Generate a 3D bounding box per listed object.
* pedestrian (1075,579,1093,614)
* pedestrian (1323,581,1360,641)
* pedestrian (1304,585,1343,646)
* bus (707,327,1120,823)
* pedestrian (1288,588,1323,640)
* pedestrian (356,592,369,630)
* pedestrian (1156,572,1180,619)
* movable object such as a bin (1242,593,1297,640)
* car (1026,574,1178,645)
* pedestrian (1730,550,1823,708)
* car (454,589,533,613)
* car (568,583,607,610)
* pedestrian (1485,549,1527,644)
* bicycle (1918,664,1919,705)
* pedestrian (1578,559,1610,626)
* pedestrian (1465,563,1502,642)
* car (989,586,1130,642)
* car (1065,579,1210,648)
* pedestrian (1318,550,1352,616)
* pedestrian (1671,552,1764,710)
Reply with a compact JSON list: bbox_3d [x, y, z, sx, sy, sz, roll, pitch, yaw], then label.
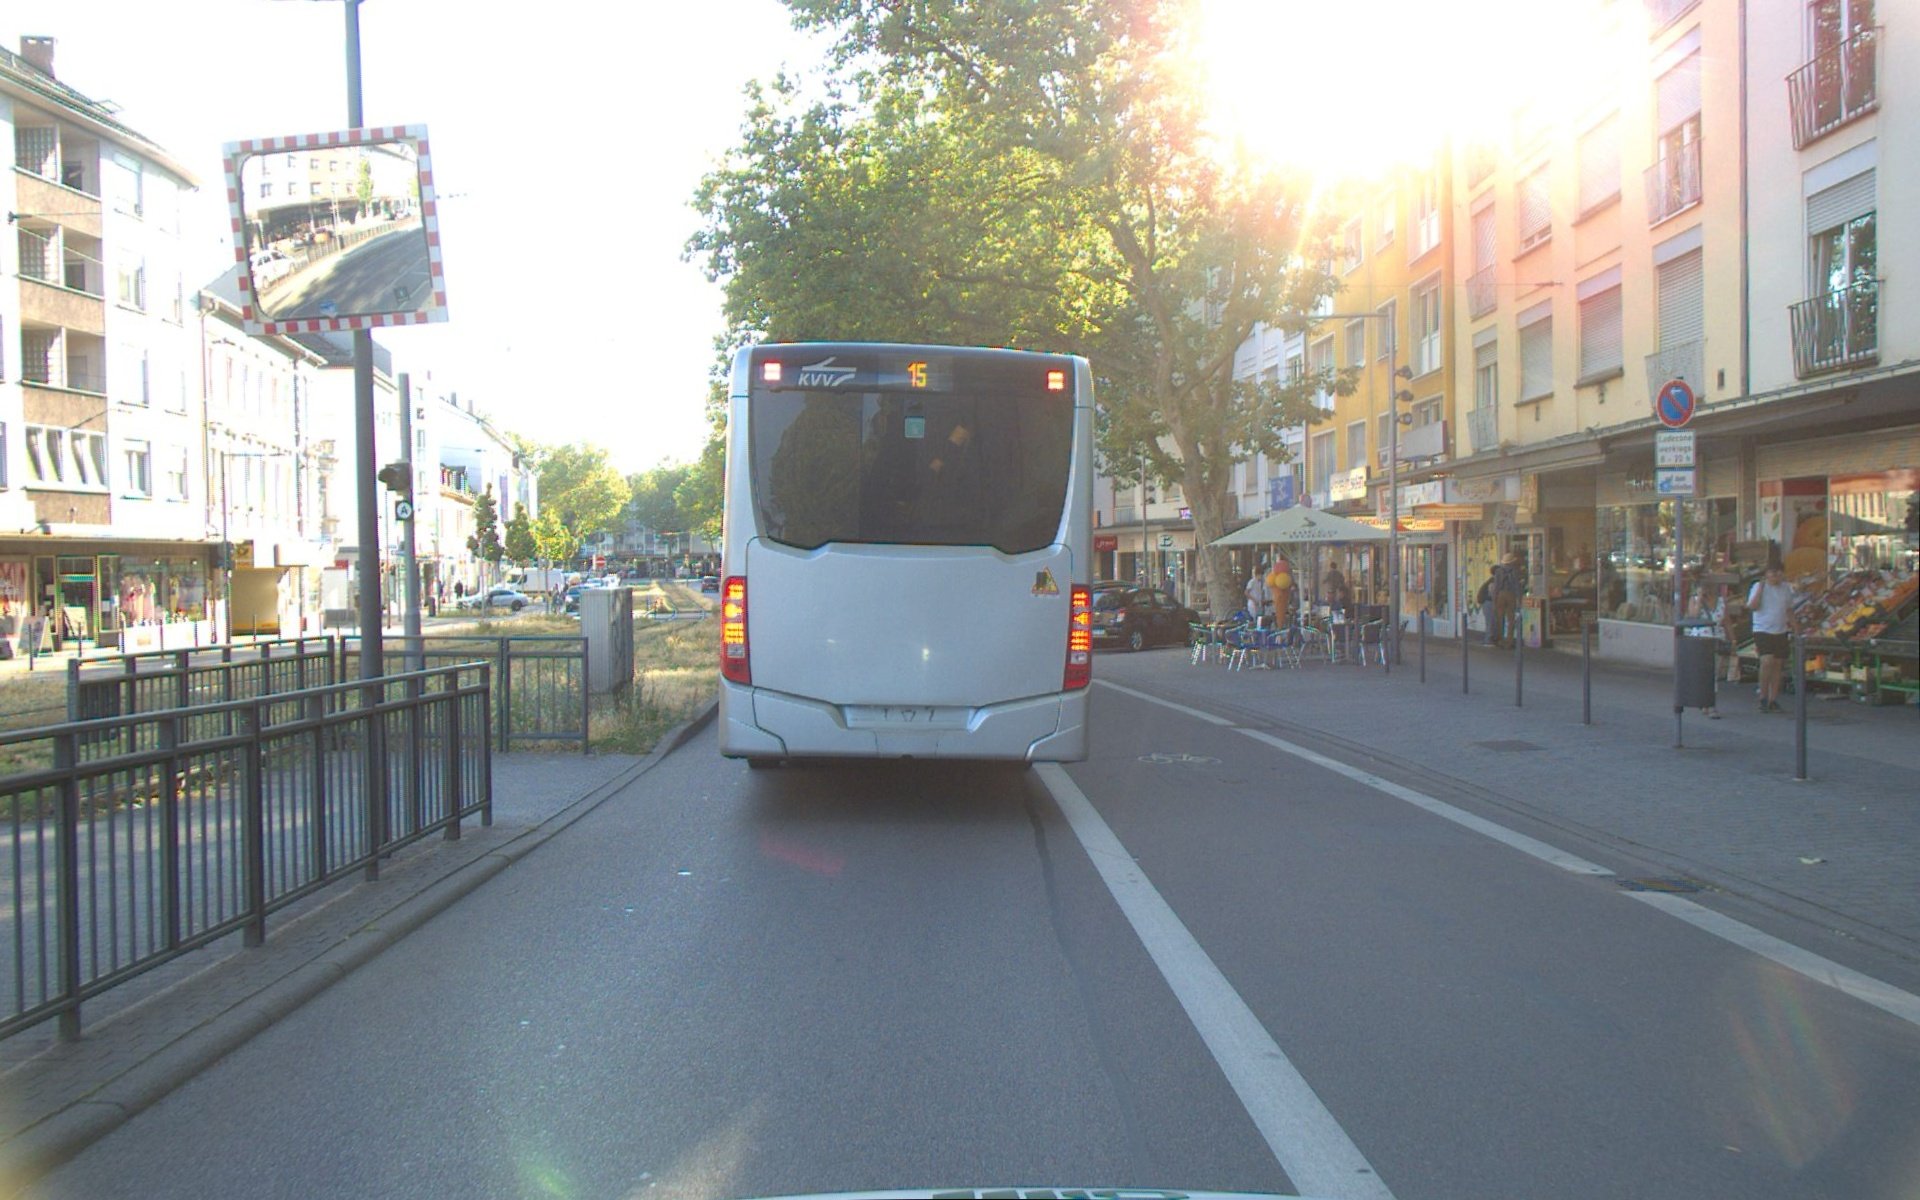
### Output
[{"bbox_3d":[6.321,-0.174,84.268,0.734,1.708,0.833,-1,3,-12],"label":"pedestrian"},{"bbox_3d":[8.324,0.230,36.098,0.572,1.297,0.758,1,0,-5],"label":"pedestrian"},{"bbox_3d":[7.554,0.317,34.403,0.594,1.246,0.744,-1,0,-5],"label":"pedestrian"},{"bbox_3d":[-0.471,-0.215,14.087,2.624,3.137,7.110,0,1,-3],"label":"bus"},{"bbox_3d":[7.677,0.304,36.776,0.572,1.135,0.750,1,0,-5],"label":"pedestrian"},{"bbox_3d":[-28.252,0.519,78.194,0.417,1.743,0.508,-1,0,-2],"label":"pedestrian"},{"bbox_3d":[8.290,-0.175,65.840,0.765,1.825,0.763,-1,0,-6],"label":"pedestrian"},{"bbox_3d":[7.054,0.373,37.667,0.915,1.041,0.832,1,0,-28],"label":"movable object such as a bin"},{"bbox_3d":[3.760,0.217,43.218,1.779,1.710,4.124,-1,1,43],"label":"car"},{"bbox_3d":[8.686,0.297,17.615,0.609,1.614,0.627,-3,0,0],"label":"pedestrian"},{"bbox_3d":[-30.041,0.065,106.542,4.514,1.437,1.969,-2,1,-42],"label":"car"},{"bbox_3d":[-22.533,-0.227,100.174,1.689,1.535,3.473,-4,1,-5],"label":"car"},{"bbox_3d":[10.649,-0.073,32.248,0.623,1.835,0.625,-1,0,30],"label":"pedestrian"},{"bbox_3d":[5.561,0.818,7.636,1.866,1.124,0.518,-3,0,8],"label":"bicycle"},{"bbox_3d":[12.696,-0.150,33.138,0.417,1.319,0.508,-1,0,-2],"label":"pedestrian"},{"bbox_3d":[10.671,0.050,33.692,0.612,1.573,0.637,-1,0,25],"label":"pedestrian"},{"bbox_3d":[2.929,0.384,48.141,4.145,1.477,1.781,-2,1,-44],"label":"car"},{"bbox_3d":[4.381,0.305,40.461,1.712,1.567,3.585,-1,1,43],"label":"car"},{"bbox_3d":[10.782,-0.495,47.540,0.692,1.822,0.788,-4,1,0],"label":"pedestrian"},{"bbox_3d":[8.027,0.319,17.538,0.622,1.614,0.627,-3,0,0],"label":"pedestrian"}]
